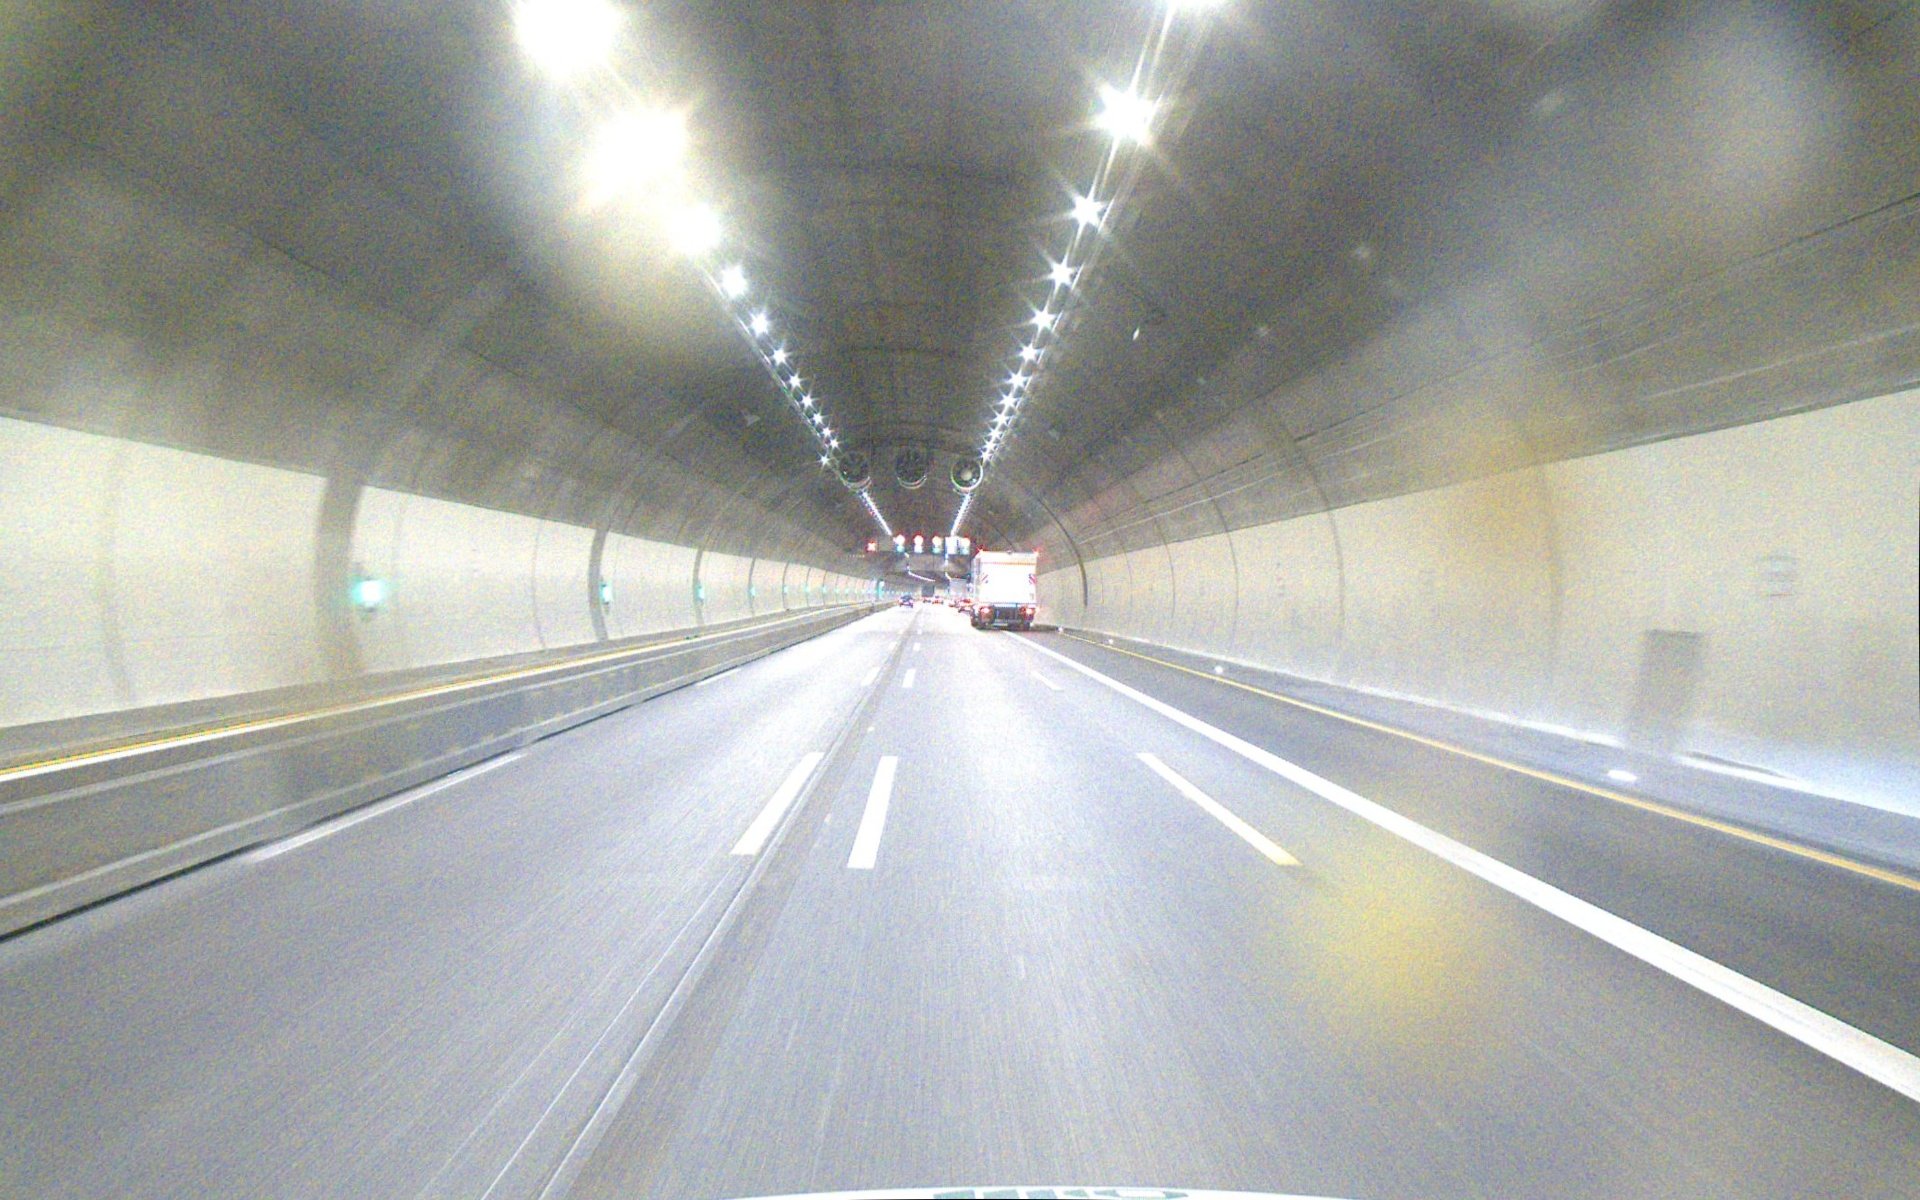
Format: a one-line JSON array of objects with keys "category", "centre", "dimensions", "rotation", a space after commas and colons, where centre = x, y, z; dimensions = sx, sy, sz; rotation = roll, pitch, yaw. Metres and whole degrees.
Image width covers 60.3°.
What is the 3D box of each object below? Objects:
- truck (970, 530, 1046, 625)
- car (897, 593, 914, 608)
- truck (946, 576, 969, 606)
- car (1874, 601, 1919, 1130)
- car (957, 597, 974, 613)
[{"category": "truck", "centre": [2.120, -0.910, 77.082], "dimensions": [3.029, 3.986, 10.365], "rotation": [2, -1, -1]}, {"category": "car", "centre": [-6.129, 0.059, 186.281], "dimensions": [1.723, 1.486, 4.118], "rotation": [2, 1, 0]}, {"category": "truck", "centre": [-0.299, -1.204, 239.250], "dimensions": [3.003, 3.986, 10.367], "rotation": [2, -1, 1]}, {"category": "car", "centre": [3.707, 0.781, 2.462], "dimensions": [1.886, 1.498, 4.953], "rotation": [2, 0, -1]}, {"category": "car", "centre": [0.561, 0.503, 166.245], "dimensions": [1.704, 1.486, 3.961], "rotation": [2, 1, 1]}]
